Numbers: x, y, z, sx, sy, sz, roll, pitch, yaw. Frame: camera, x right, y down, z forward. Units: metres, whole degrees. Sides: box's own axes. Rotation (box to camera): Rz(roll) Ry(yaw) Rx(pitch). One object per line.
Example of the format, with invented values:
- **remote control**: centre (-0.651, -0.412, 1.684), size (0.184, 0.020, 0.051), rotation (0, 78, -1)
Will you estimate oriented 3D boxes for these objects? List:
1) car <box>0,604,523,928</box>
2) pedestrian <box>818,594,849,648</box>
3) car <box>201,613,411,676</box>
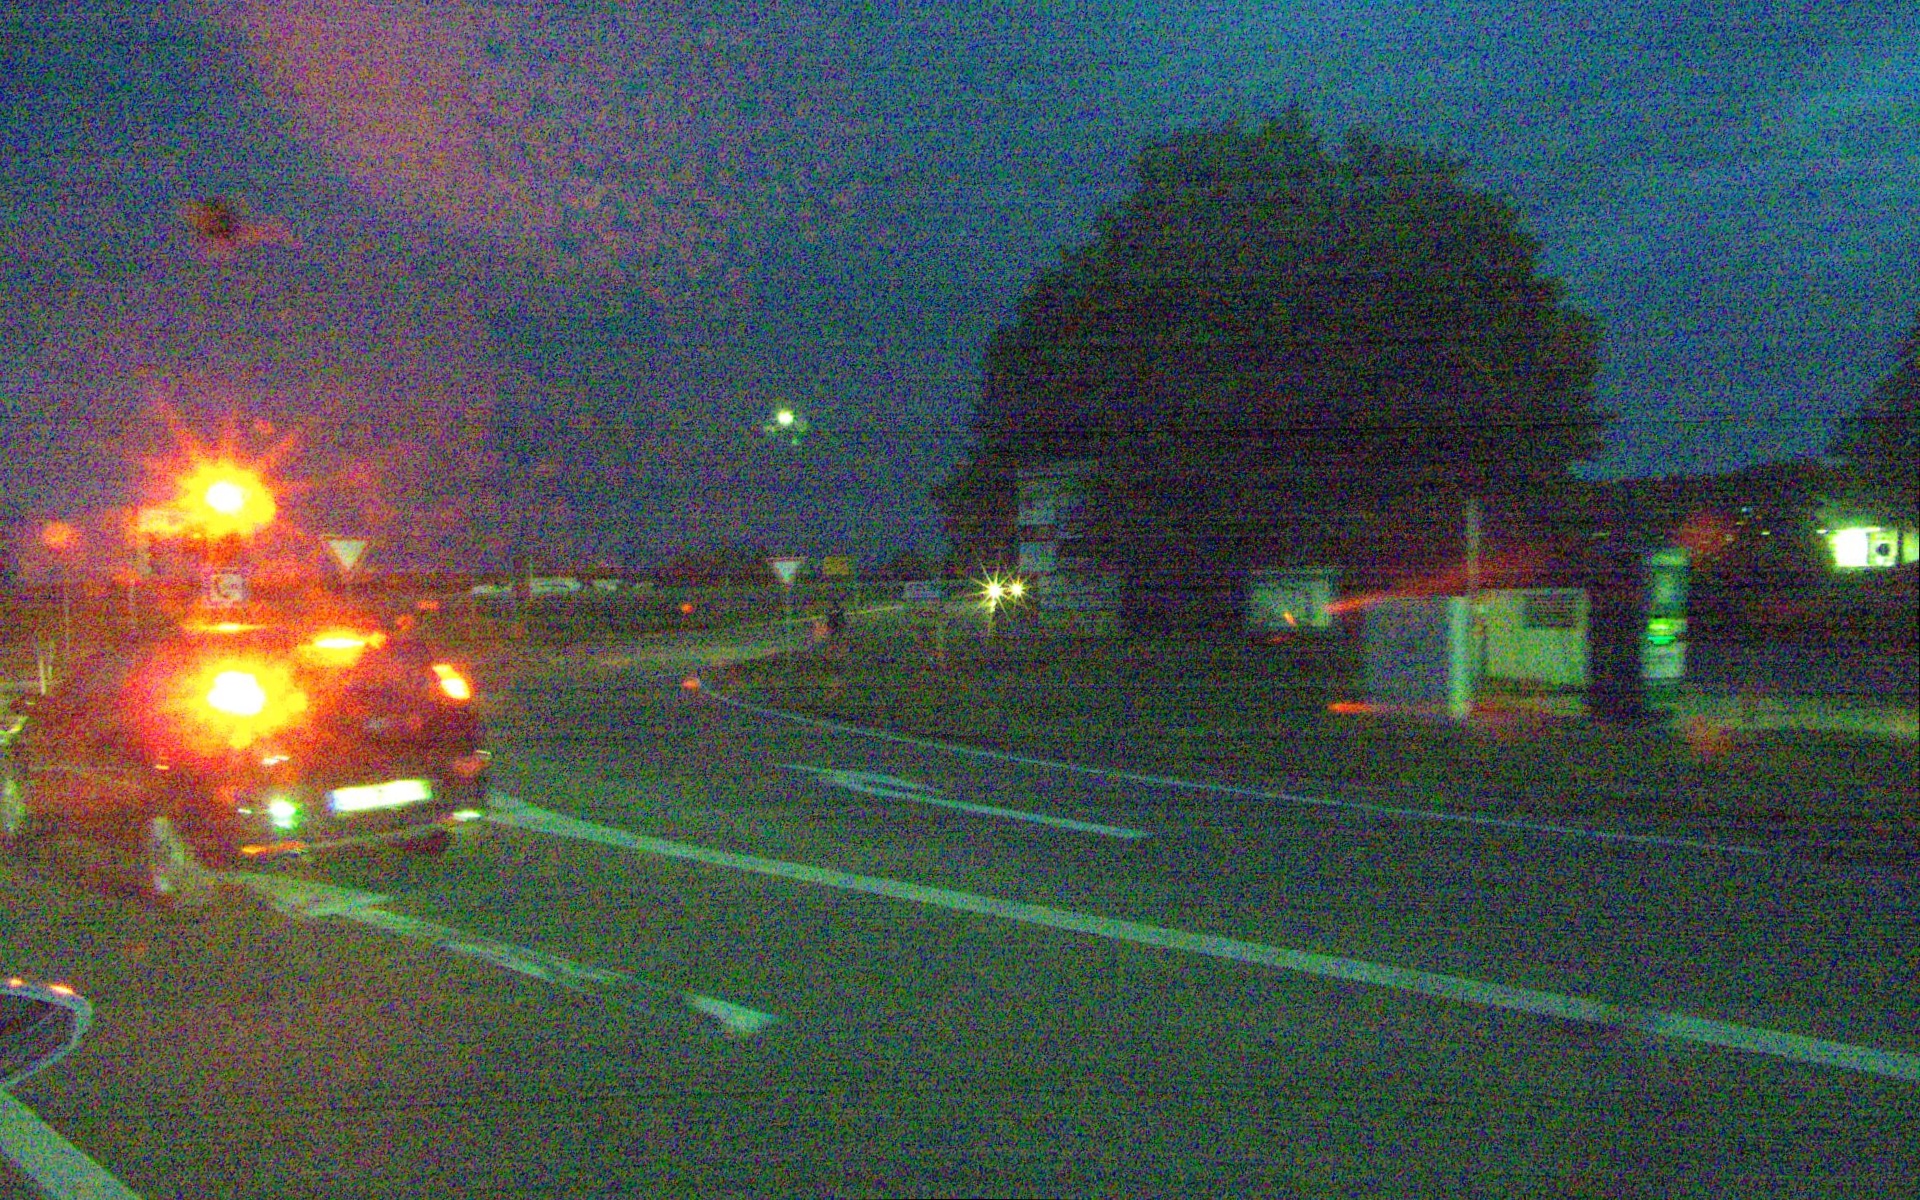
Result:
- **car**: centre (-4.823, 0.838, 6.600), size (4.049, 1.540, 1.667), rotation (-1, -1, 34)
- **pedestrian**: centre (-4.491, 0.730, 35.675), size (0.861, 1.859, 0.731), rotation (-3, 1, 6)
- **car**: centre (-18.470, 1.202, 28.490), size (1.972, 1.541, 4.590), rotation (-1, 0, 33)
